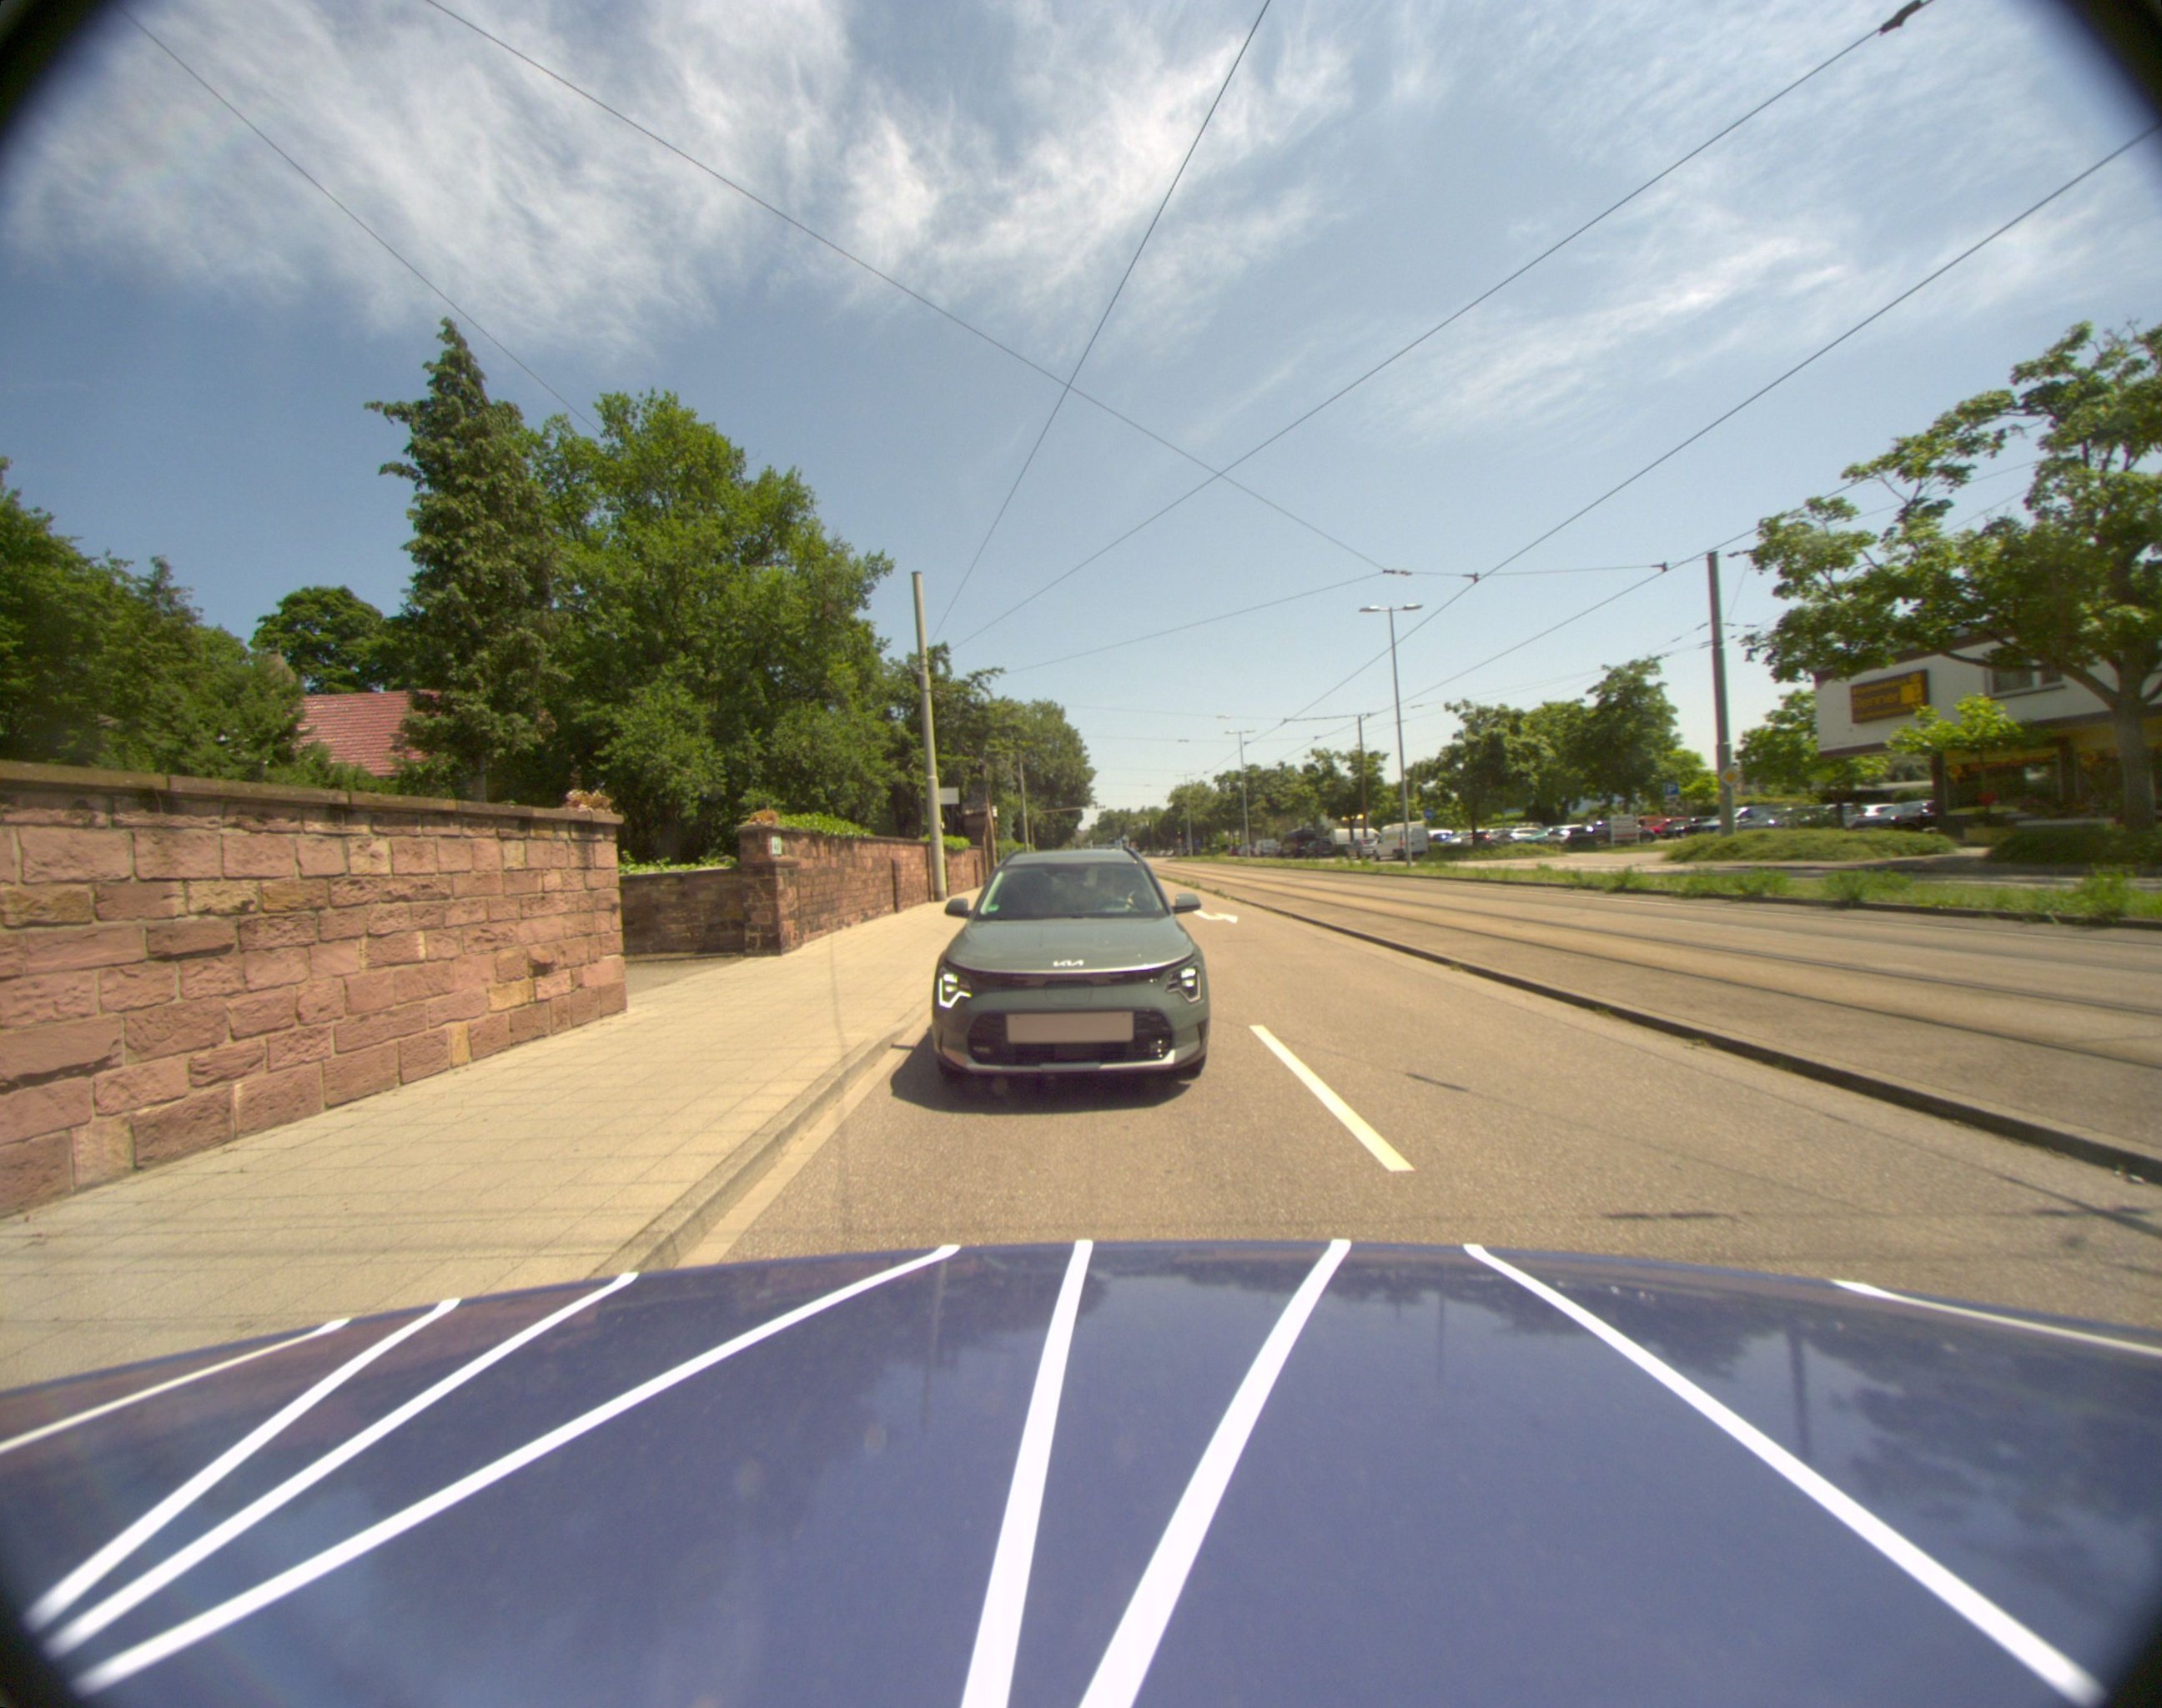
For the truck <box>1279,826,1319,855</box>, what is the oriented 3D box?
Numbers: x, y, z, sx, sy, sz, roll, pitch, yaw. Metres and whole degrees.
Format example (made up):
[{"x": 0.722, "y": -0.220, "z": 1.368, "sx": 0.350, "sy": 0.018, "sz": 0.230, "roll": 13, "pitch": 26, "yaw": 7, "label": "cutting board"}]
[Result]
[{"x": 20.136, "y": -1.226, "z": 70.280, "sx": 2.225, "sy": 2.526, "sz": 4.929, "roll": -4, "pitch": 0, "yaw": 1, "label": "truck"}]

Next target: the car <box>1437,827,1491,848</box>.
[{"x": 30.261, "y": -1.282, "z": 60.072, "sx": 3.414, "sy": 1.386, "sz": 1.603, "roll": -4, "pitch": 1, "yaw": -5, "label": "car"}]

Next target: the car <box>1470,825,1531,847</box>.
[{"x": 30.089, "y": -1.271, "z": 54.552, "sx": 3.414, "sy": 1.386, "sz": 1.603, "roll": -4, "pitch": 1, "yaw": -5, "label": "car"}]

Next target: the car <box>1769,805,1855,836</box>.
[{"x": 42.670, "y": -1.951, "z": 44.370, "sx": 3.492, "sy": 1.528, "sz": 1.624, "roll": -4, "pitch": 1, "yaw": -2, "label": "car"}]

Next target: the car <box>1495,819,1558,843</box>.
[{"x": 30.638, "y": -1.566, "z": 52.287, "sx": 3.414, "sy": 1.386, "sz": 1.603, "roll": -4, "pitch": 1, "yaw": -5, "label": "car"}]

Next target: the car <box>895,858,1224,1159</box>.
[{"x": -0.093, "y": 0.885, "z": 6.364, "sx": 1.789, "sy": 1.561, "sz": 4.184, "roll": -2, "pitch": 1, "yaw": 1, "label": "car"}]

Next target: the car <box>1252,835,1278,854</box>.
[{"x": 20.429, "y": -1.033, "z": 84.364, "sx": 1.681, "sy": 1.963, "sz": 4.509, "roll": -4, "pitch": 0, "yaw": 0, "label": "car"}]

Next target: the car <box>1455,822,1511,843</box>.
[{"x": 30.495, "y": -1.623, "z": 57.660, "sx": 3.414, "sy": 1.386, "sz": 1.603, "roll": -4, "pitch": 1, "yaw": -5, "label": "car"}]

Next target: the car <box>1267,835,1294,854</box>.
[{"x": 20.657, "y": -0.948, "z": 78.760, "sx": 1.681, "sy": 1.783, "sz": 3.868, "roll": -4, "pitch": 0, "yaw": 0, "label": "car"}]

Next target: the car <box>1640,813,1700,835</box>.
[{"x": 44.247, "y": -2.248, "z": 57.109, "sx": 3.355, "sy": 1.450, "sz": 1.506, "roll": -4, "pitch": 1, "yaw": -2, "label": "car"}]

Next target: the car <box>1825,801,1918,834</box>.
[{"x": 43.698, "y": -1.989, "z": 42.042, "sx": 3.492, "sy": 1.528, "sz": 1.624, "roll": -4, "pitch": 1, "yaw": -2, "label": "car"}]

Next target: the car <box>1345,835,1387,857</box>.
[{"x": 20.256, "y": -0.565, "z": 54.140, "sx": 1.675, "sy": 1.378, "sz": 3.569, "roll": -3, "pitch": 0, "yaw": 2, "label": "car"}]

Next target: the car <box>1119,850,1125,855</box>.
[{"x": 13.044, "y": -0.412, "z": 244.112, "sx": 1.737, "sy": 1.469, "sz": 4.000, "roll": -4, "pitch": 0, "yaw": 0, "label": "car"}]

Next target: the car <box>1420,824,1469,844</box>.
[{"x": 31.344, "y": -1.747, "z": 65.625, "sx": 3.414, "sy": 1.497, "sz": 1.602, "roll": -4, "pitch": 1, "yaw": -5, "label": "car"}]

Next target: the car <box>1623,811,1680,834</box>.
[{"x": 44.826, "y": -2.461, "z": 59.773, "sx": 3.355, "sy": 1.552, "sz": 1.506, "roll": -4, "pitch": 1, "yaw": -2, "label": "car"}]

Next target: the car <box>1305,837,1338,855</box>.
[{"x": 20.230, "y": -0.645, "z": 64.093, "sx": 1.675, "sy": 1.378, "sz": 3.669, "roll": -3, "pitch": 0, "yaw": 2, "label": "car"}]

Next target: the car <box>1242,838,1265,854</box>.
[{"x": 20.358, "y": -0.938, "z": 89.834, "sx": 1.681, "sy": 1.783, "sz": 4.202, "roll": -4, "pitch": 0, "yaw": 0, "label": "car"}]

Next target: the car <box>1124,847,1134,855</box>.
[{"x": 10.470, "y": -0.697, "z": 166.731, "sx": 1.998, "sy": 1.652, "sz": 4.000, "roll": -3, "pitch": 0, "yaw": 0, "label": "car"}]

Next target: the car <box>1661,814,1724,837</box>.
[{"x": 43.871, "y": -2.053, "z": 54.542, "sx": 3.355, "sy": 1.381, "sz": 1.506, "roll": -4, "pitch": 1, "yaw": -2, "label": "car"}]

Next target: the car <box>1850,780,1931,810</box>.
[{"x": 63.389, "y": -4.612, "z": 59.547, "sx": 3.996, "sy": 2.002, "sz": 2.000, "roll": -3, "pitch": 1, "yaw": 2, "label": "car"}]

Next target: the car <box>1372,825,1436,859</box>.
[{"x": 20.228, "y": -0.736, "z": 47.832, "sx": 1.998, "sy": 1.872, "sz": 4.661, "roll": -4, "pitch": 0, "yaw": 1, "label": "car"}]

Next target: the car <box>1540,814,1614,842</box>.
[{"x": 30.857, "y": -1.602, "z": 47.301, "sx": 3.414, "sy": 1.482, "sz": 1.793, "roll": -4, "pitch": 1, "yaw": -5, "label": "car"}]

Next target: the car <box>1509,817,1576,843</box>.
[{"x": 30.227, "y": -1.579, "z": 49.855, "sx": 3.414, "sy": 1.482, "sz": 1.598, "roll": -4, "pitch": 1, "yaw": -5, "label": "car"}]

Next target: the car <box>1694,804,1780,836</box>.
[{"x": 42.709, "y": -2.220, "z": 49.518, "sx": 3.998, "sy": 1.774, "sz": 1.813, "roll": -4, "pitch": 1, "yaw": -2, "label": "car"}]

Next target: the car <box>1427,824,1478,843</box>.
[{"x": 30.764, "y": -1.694, "z": 62.961, "sx": 3.414, "sy": 1.386, "sz": 1.603, "roll": -4, "pitch": 1, "yaw": -5, "label": "car"}]

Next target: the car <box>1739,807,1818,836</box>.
[{"x": 43.271, "y": -2.025, "z": 47.166, "sx": 3.492, "sy": 1.528, "sz": 1.534, "roll": -4, "pitch": 1, "yaw": -2, "label": "car"}]

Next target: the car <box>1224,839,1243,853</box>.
[{"x": 20.353, "y": -1.029, "z": 101.445, "sx": 1.681, "sy": 1.693, "sz": 3.823, "roll": -4, "pitch": 0, "yaw": 0, "label": "car"}]

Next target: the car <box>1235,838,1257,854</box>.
[{"x": 20.483, "y": -0.972, "z": 94.594, "sx": 1.681, "sy": 1.783, "sz": 4.202, "roll": -3, "pitch": 0, "yaw": 0, "label": "car"}]

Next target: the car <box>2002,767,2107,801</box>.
[{"x": 61.940, "y": -4.444, "z": 48.407, "sx": 3.996, "sy": 1.761, "sz": 2.000, "roll": -3, "pitch": 1, "yaw": 2, "label": "car"}]
